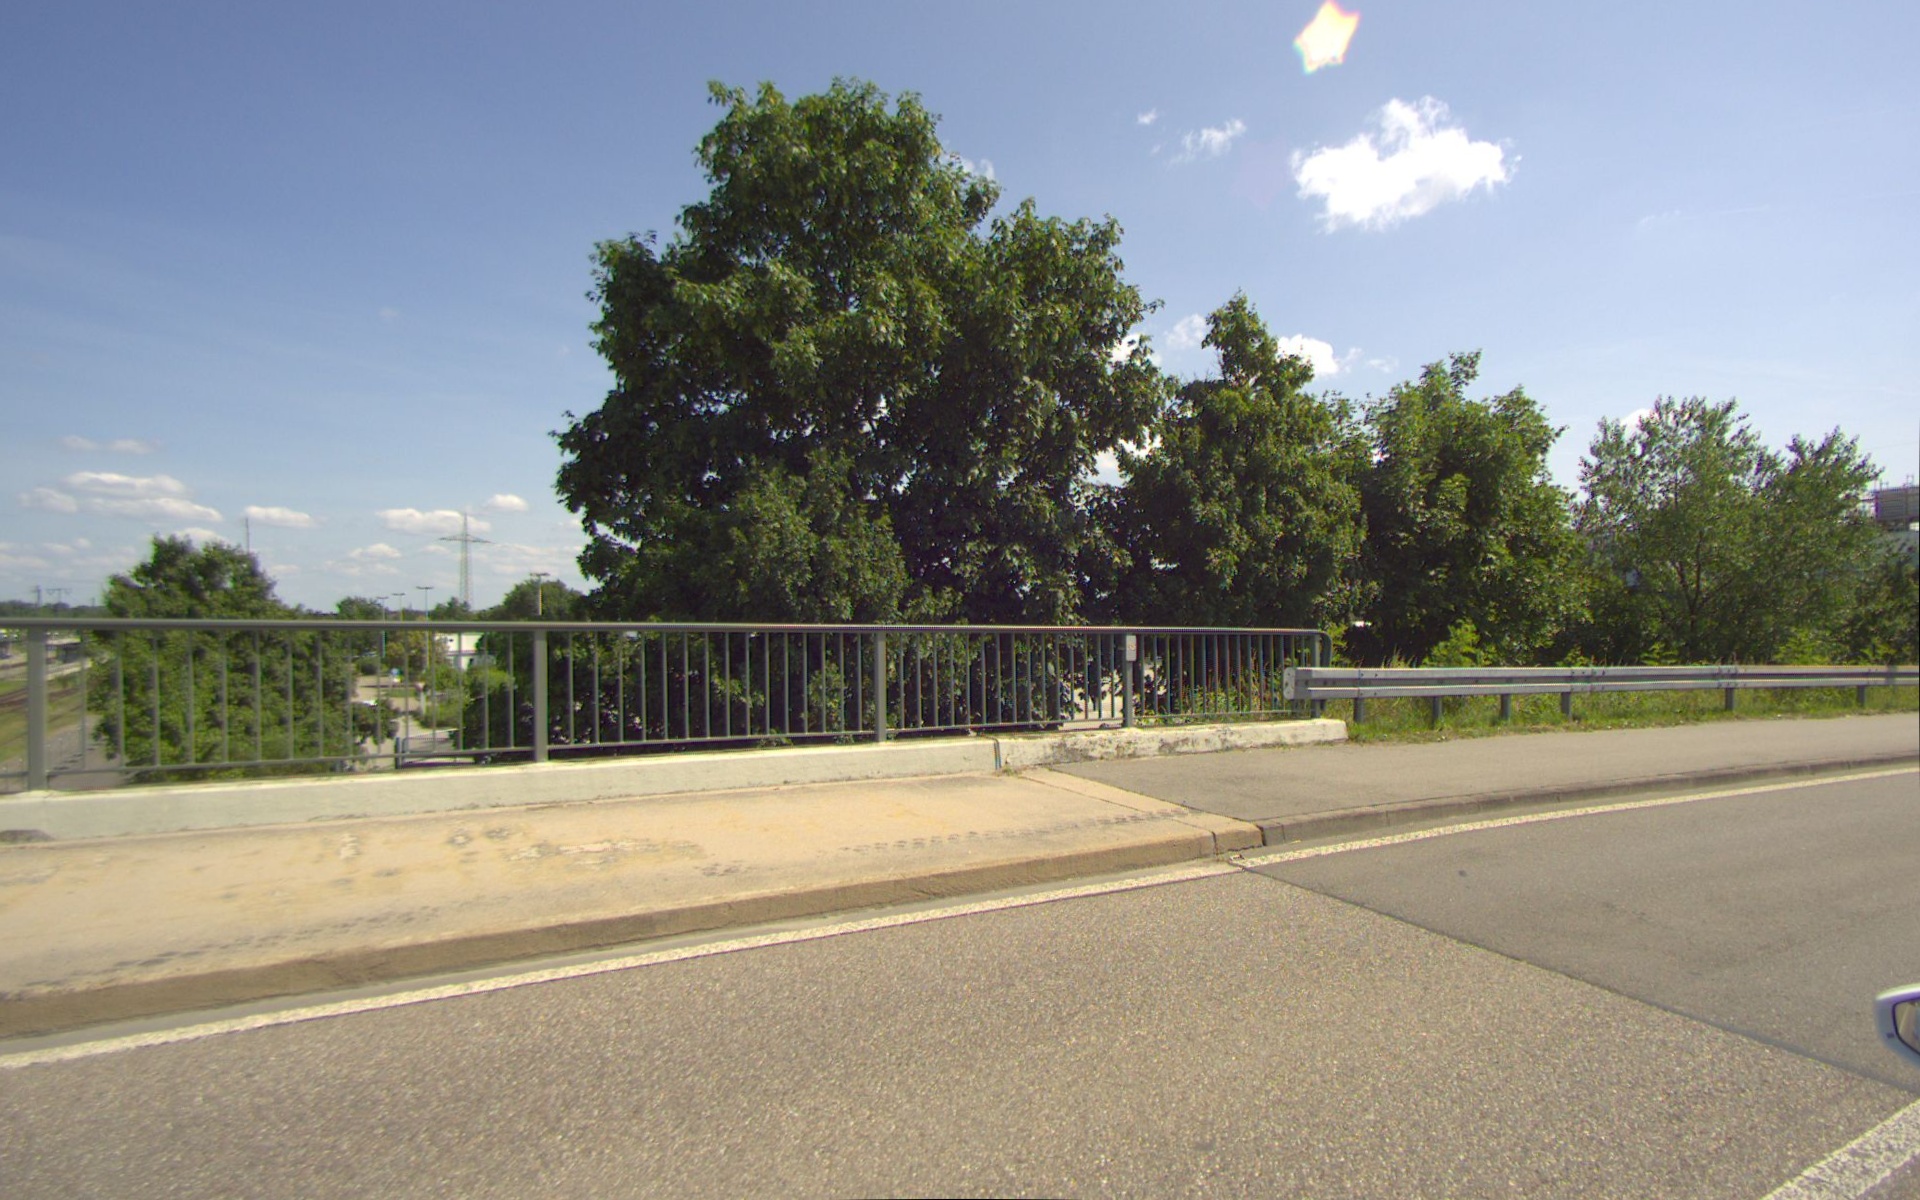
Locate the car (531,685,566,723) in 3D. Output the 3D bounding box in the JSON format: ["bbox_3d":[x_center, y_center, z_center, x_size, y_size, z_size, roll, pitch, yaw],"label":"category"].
[{"bbox_3d":[-27.251,6.870,66.625,1.969,2.040,3.982,-1,0,-20],"label":"car"}]
